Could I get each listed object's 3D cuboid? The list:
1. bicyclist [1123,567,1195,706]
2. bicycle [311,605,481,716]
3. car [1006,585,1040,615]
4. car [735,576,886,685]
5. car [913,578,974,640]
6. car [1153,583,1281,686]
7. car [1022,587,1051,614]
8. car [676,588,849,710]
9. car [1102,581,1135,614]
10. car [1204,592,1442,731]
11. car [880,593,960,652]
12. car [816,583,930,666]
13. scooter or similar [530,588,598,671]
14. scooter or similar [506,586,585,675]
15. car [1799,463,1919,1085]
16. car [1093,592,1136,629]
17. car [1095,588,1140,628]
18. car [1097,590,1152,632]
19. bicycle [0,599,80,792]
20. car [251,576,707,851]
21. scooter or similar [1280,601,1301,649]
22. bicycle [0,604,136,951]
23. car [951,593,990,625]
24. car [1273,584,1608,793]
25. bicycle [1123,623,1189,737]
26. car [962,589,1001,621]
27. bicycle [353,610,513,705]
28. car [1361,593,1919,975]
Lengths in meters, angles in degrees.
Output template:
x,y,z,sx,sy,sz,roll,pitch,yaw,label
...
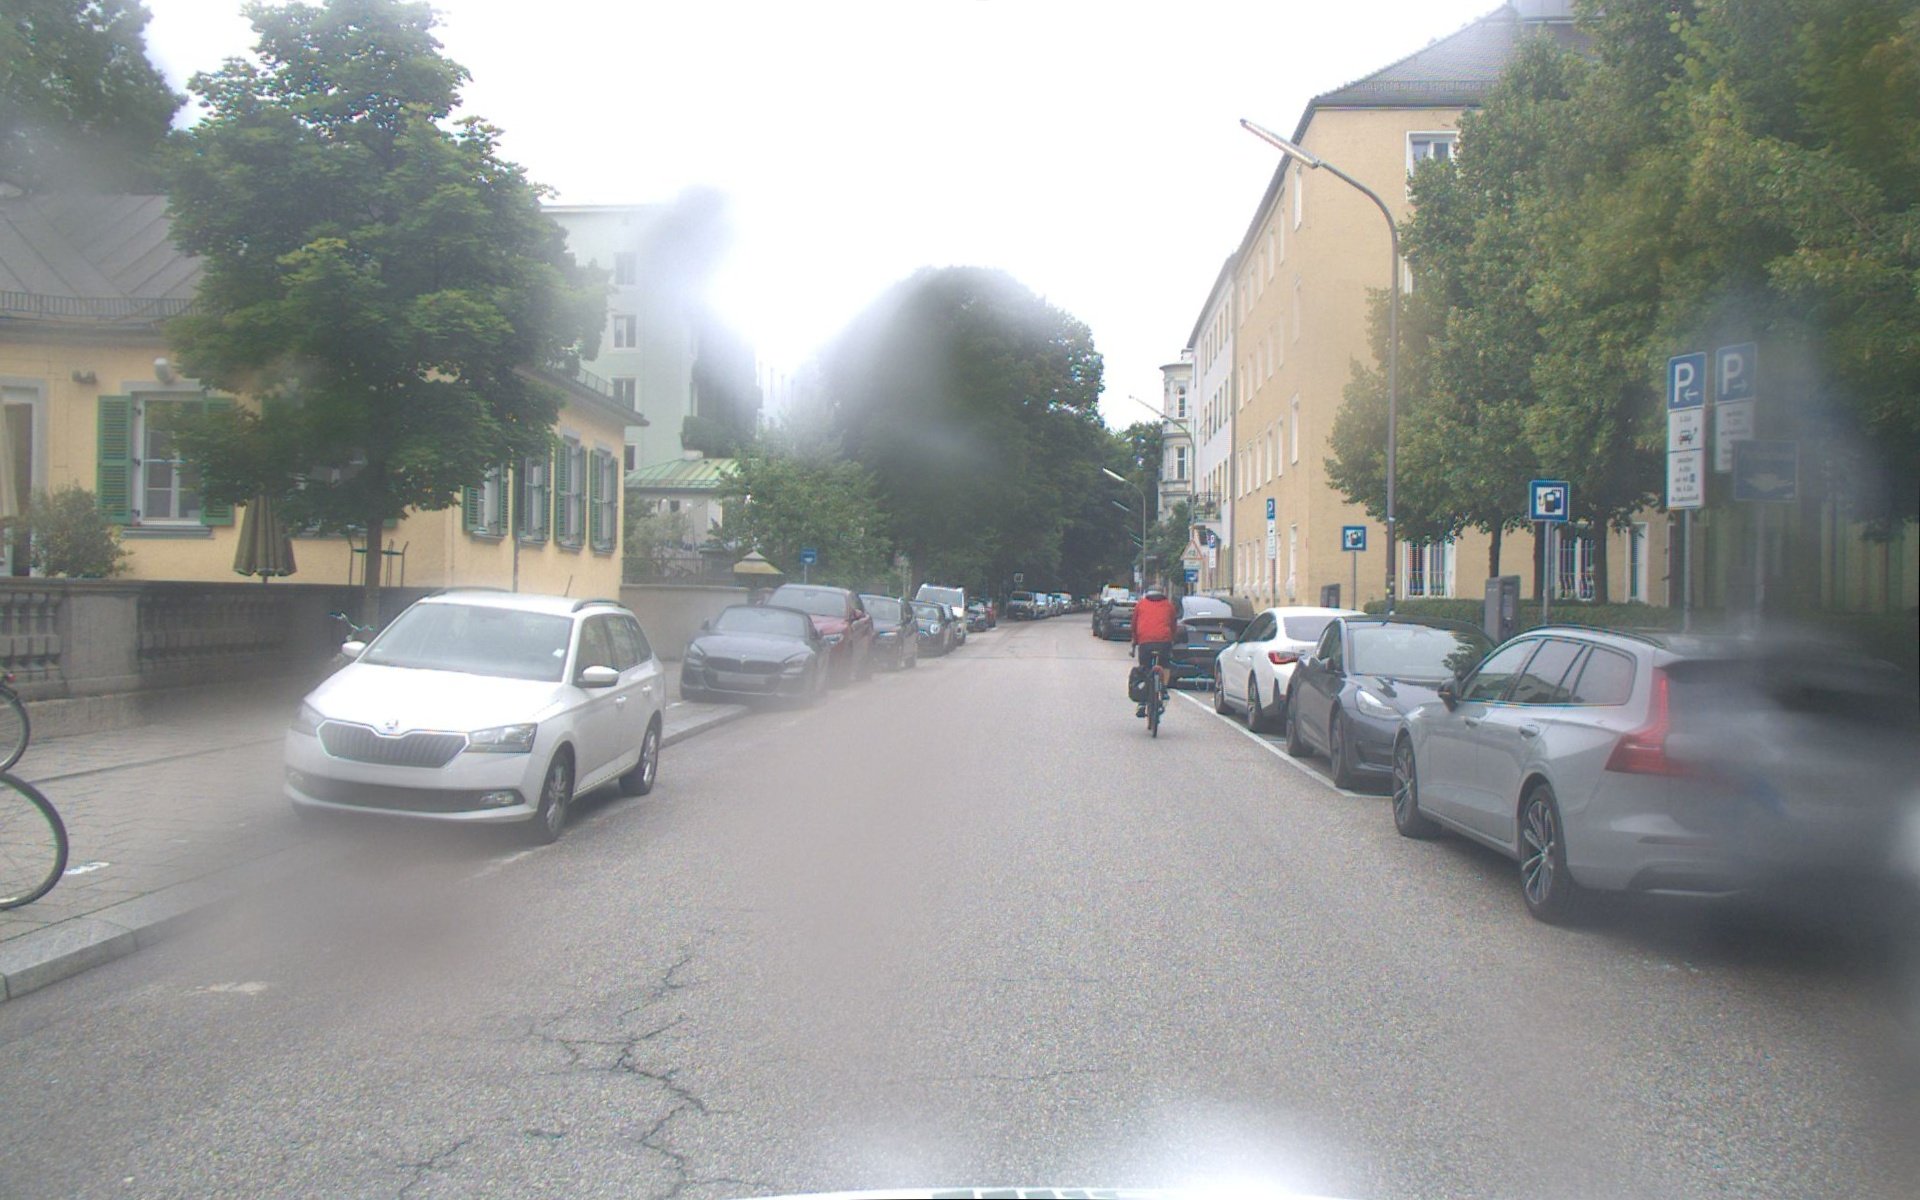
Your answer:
x,y,z,sx,sy,sz,roll,pitch,yaw,label
2.253,0.400,18.643,0.738,1.509,0.982,2,0,8,bicyclist
-6.034,0.625,17.727,1.616,1.107,0.629,0,1,-37,bicycle
4.480,-0.020,116.691,2.200,1.990,5.456,2,0,4,car
-2.548,0.491,29.406,1.862,1.721,4.811,2,0,4,car
-0.543,0.294,58.204,1.926,2.025,5.152,2,0,1,car
4.612,0.573,30.375,1.951,1.659,5.103,2,0,5,car
5.977,0.011,128.327,2.138,1.990,5.169,2,0,4,car
-2.752,0.637,24.013,1.857,1.545,4.655,2,0,1,car
11.103,-0.154,116.104,2.157,2.247,4.858,-1,0,5,car
4.396,0.670,20.832,1.952,1.485,4.957,2,0,1,car
-1.103,0.611,47.149,1.820,1.571,4.190,-1,0,4,car
-1.827,0.498,36.294,1.806,1.635,4.745,2,0,5,car
-6.506,0.468,27.191,0.356,1.337,1.252,0,0,27,scooter or similar
-6.483,0.462,25.905,0.368,1.366,1.350,0,0,29,scooter or similar
3.795,0.564,3.606,1.747,1.928,4.576,2,0,3,car
6.756,0.434,72.391,1.800,1.558,4.418,-1,0,5,car
7.358,0.363,77.668,1.952,1.736,4.537,2,0,4,car
6.626,0.411,66.947,1.822,1.604,4.900,-1,0,1,car
-6.836,0.641,11.130,1.552,1.284,0.563,0,1,-37,bicycle
-3.090,0.638,11.674,1.689,1.518,4.463,2,0,3,car
8.859,0.661,44.385,0.335,1.277,1.310,-1,0,3,scooter or similar
-4.265,0.723,6.736,0.763,1.393,1.697,1,0,10,bicycle
0.542,0.407,78.965,1.770,1.426,4.925,2,0,1,car
4.218,0.683,15.374,1.921,1.579,4.852,2,0,3,car
2.205,0.860,18.444,0.658,1.161,2.012,2,0,8,bicycle
1.176,0.232,88.686,1.847,1.618,4.530,2,0,4,car
-6.277,0.678,19.723,1.687,1.046,0.645,1,1,10,bicycle
3.827,0.778,9.492,1.907,1.579,5.006,2,0,1,car
